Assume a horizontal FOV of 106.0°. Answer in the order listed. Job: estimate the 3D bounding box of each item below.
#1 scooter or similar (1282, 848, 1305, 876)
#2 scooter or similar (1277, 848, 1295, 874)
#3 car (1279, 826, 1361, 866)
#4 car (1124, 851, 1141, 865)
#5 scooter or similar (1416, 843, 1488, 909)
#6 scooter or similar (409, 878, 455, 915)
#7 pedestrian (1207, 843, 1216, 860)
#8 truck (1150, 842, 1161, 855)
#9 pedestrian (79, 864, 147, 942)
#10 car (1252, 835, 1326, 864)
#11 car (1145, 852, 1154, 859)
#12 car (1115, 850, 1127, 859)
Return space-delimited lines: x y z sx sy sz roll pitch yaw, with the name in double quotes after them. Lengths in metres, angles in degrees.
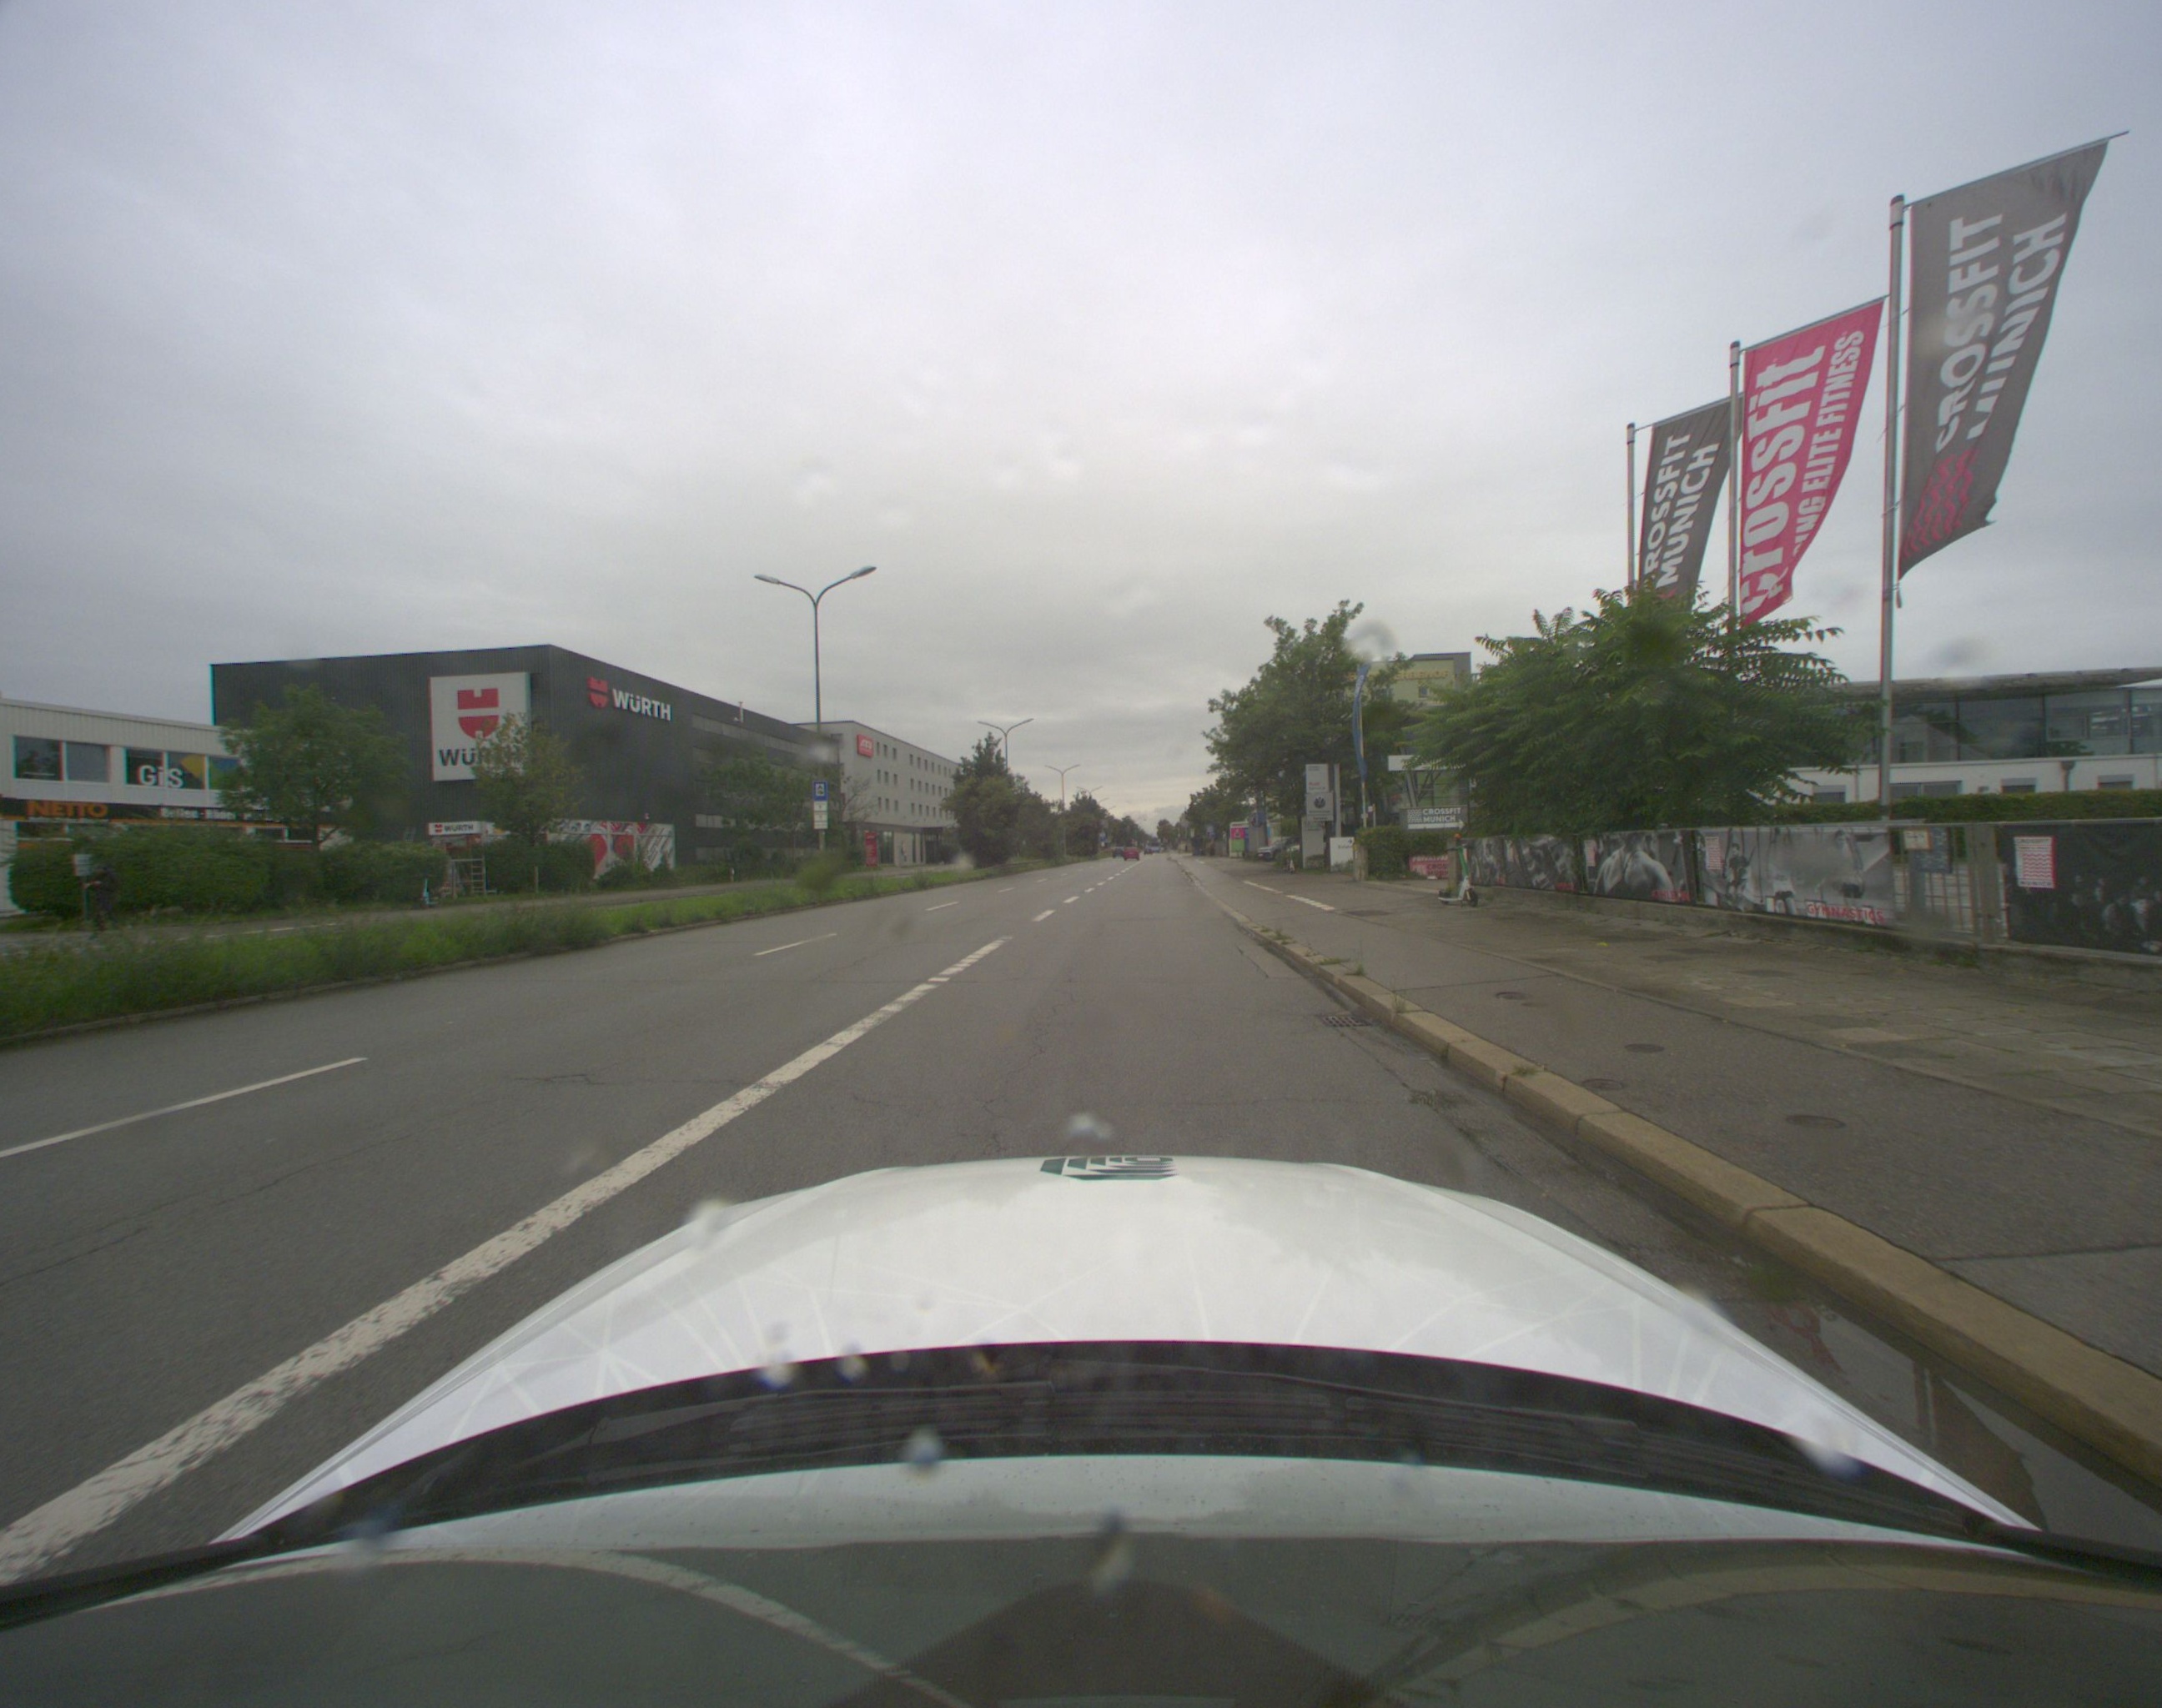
9.692 0.365 37.114 0.495 1.204 1.428 -5 -1 -4 "scooter or similar"
9.887 0.329 39.372 0.494 1.204 1.431 -5 1 3 "scooter or similar"
14.258 -0.472 48.568 4.206 2.013 1.975 -5 -1 29 "car"
6.319 0.504 99.843 1.853 1.618 4.006 -1 0 5 "car"
7.303 0.429 16.111 0.396 1.223 1.635 -5 -1 -7 "scooter or similar"
-23.316 1.505 29.294 0.443 1.227 1.389 -2 0 4 "scooter or similar"
13.975 -0.244 87.097 0.755 1.728 0.896 -6 0 3 "pedestrian"
20.816 -1.504 227.532 2.955 3.285 7.925 -2 0 4 "truck"
-23.793 1.188 20.033 0.619 1.830 0.819 -2 0 6 "pedestrian"
14.668 -0.311 57.422 4.598 1.706 1.997 -4 -1 -16 "car"
14.647 0.360 174.164 1.795 1.432 4.005 -2 0 4 "car"
6.194 0.064 125.745 1.795 1.432 4.005 -2 0 4 "car"
